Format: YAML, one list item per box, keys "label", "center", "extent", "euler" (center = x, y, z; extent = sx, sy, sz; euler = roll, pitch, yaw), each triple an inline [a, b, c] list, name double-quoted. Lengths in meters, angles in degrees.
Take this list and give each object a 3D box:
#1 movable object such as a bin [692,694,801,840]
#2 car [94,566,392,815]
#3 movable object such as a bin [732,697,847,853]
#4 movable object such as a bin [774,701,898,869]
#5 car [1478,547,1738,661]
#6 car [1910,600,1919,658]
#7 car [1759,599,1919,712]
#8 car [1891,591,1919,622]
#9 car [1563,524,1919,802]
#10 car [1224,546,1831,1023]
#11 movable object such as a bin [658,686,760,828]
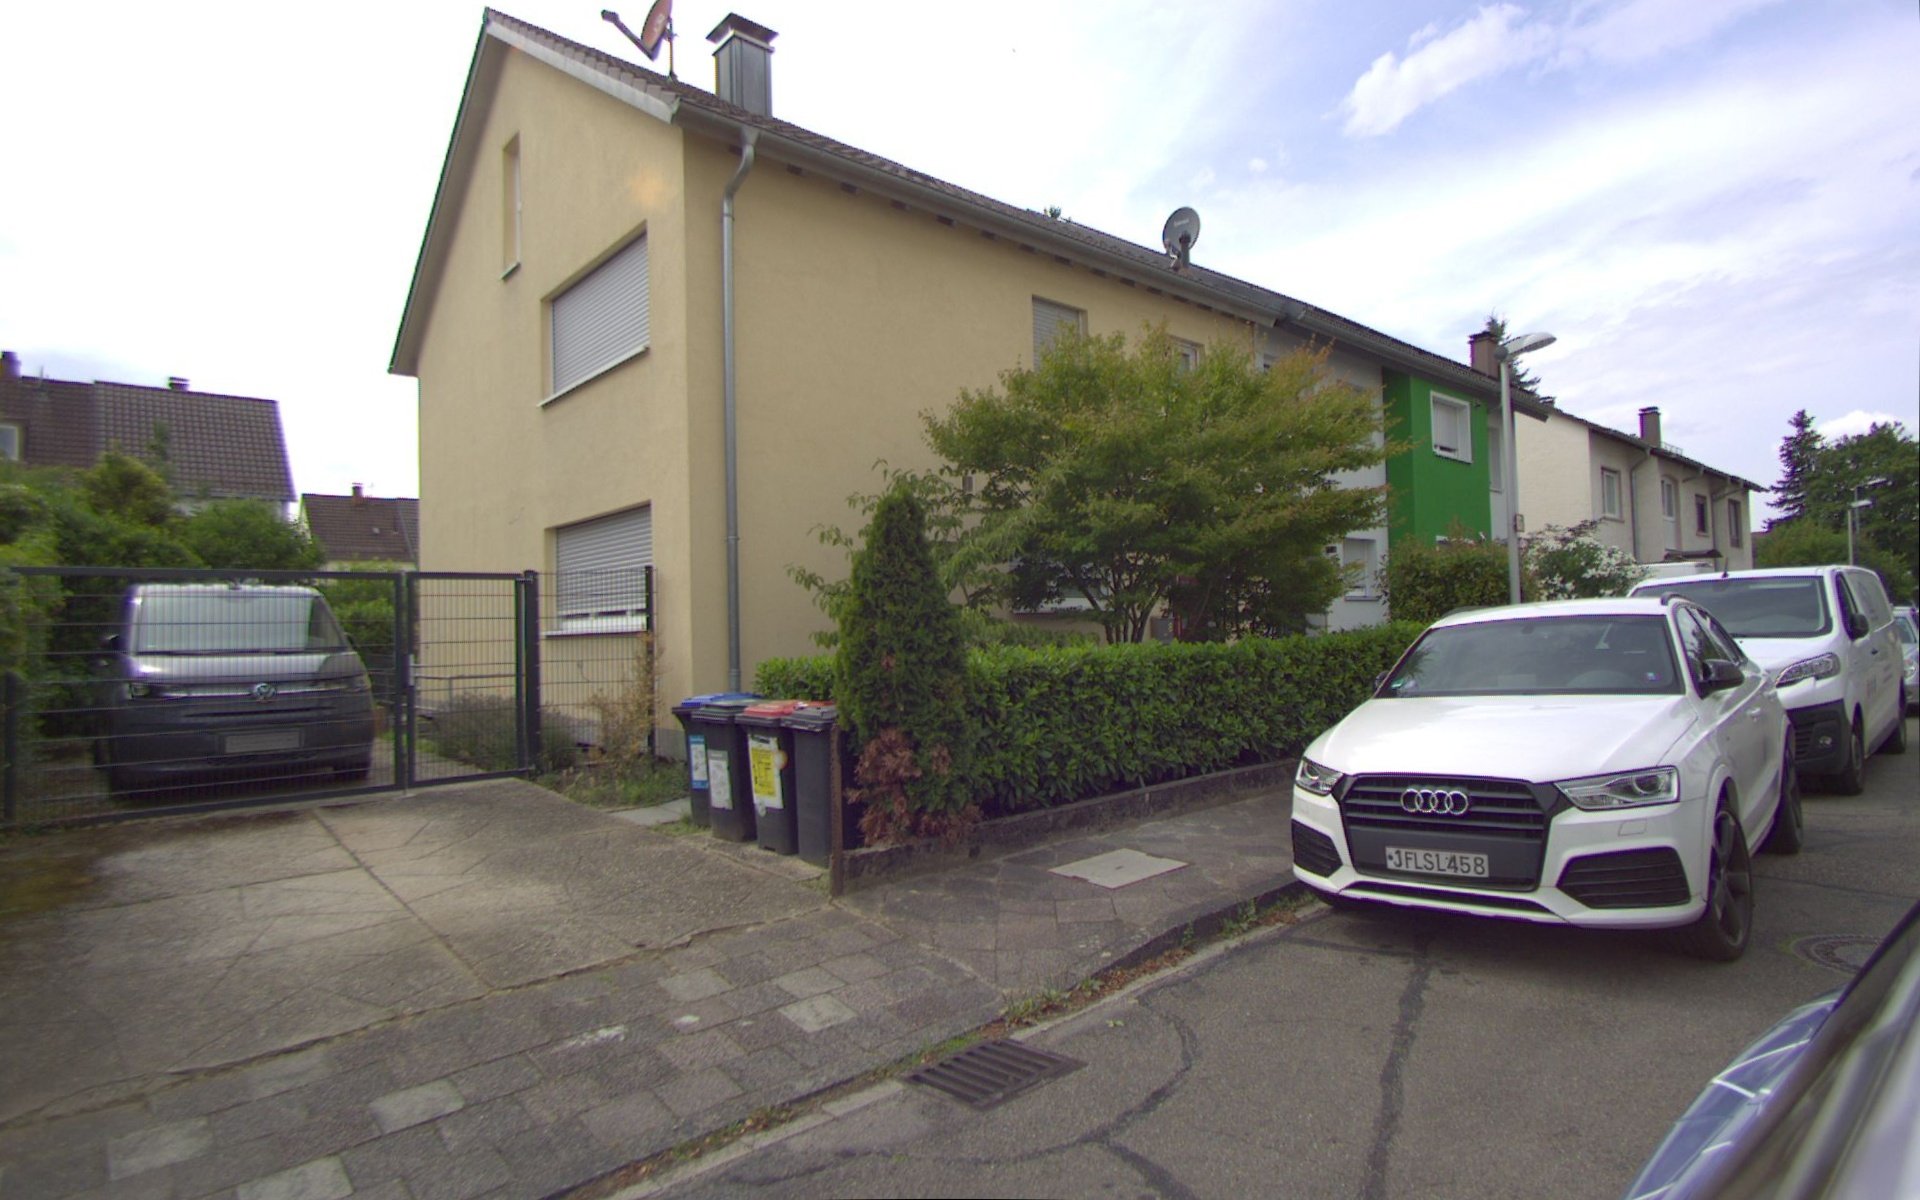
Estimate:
- label: "movable object such as a bin"
  center: [-1.439, 1.099, 6.821]
  extent: [0.520, 0.879, 0.510]
  euler: [0, -3, -42]
- label: "car"
  center: [-7.011, 0.745, 9.740]
  extent: [1.965, 1.852, 4.070]
  euler: [0, -2, -40]
- label: "movable object such as a bin"
  center: [-1.085, 1.082, 6.424]
  extent: [0.520, 0.879, 0.510]
  euler: [0, -3, -42]
- label: "movable object such as a bin"
  center: [-0.742, 1.070, 6.025]
  extent: [0.520, 0.879, 0.510]
  euler: [0, -3, -42]
- label: "car"
  center: [16.207, 0.132, 25.569]
  extent: [2.198, 2.575, 5.095]
  euler: [0, -1, -41]
- label: "car"
  center: [26.149, 0.682, 26.333]
  extent: [4.121, 1.477, 1.830]
  euler: [0, -3, -44]
- label: "car"
  center: [13.525, 0.740, 14.968]
  extent: [4.377, 1.439, 1.786]
  euler: [-1, -3, -40]
- label: "car"
  center: [50.222, 0.296, 53.137]
  extent: [3.935, 1.484, 1.701]
  euler: [-2, -1, -45]
- label: "car"
  center: [7.765, 0.492, 9.699]
  extent: [5.164, 1.990, 1.905]
  euler: [0, -4, -43]
- label: "car"
  center: [3.395, 0.688, 5.649]
  extent: [4.094, 1.657, 1.825]
  euler: [0, -4, -45]
- label: "movable object such as a bin"
  center: [-1.795, 1.094, 7.228]
  extent: [0.514, 0.917, 0.510]
  euler: [0, -3, -42]
